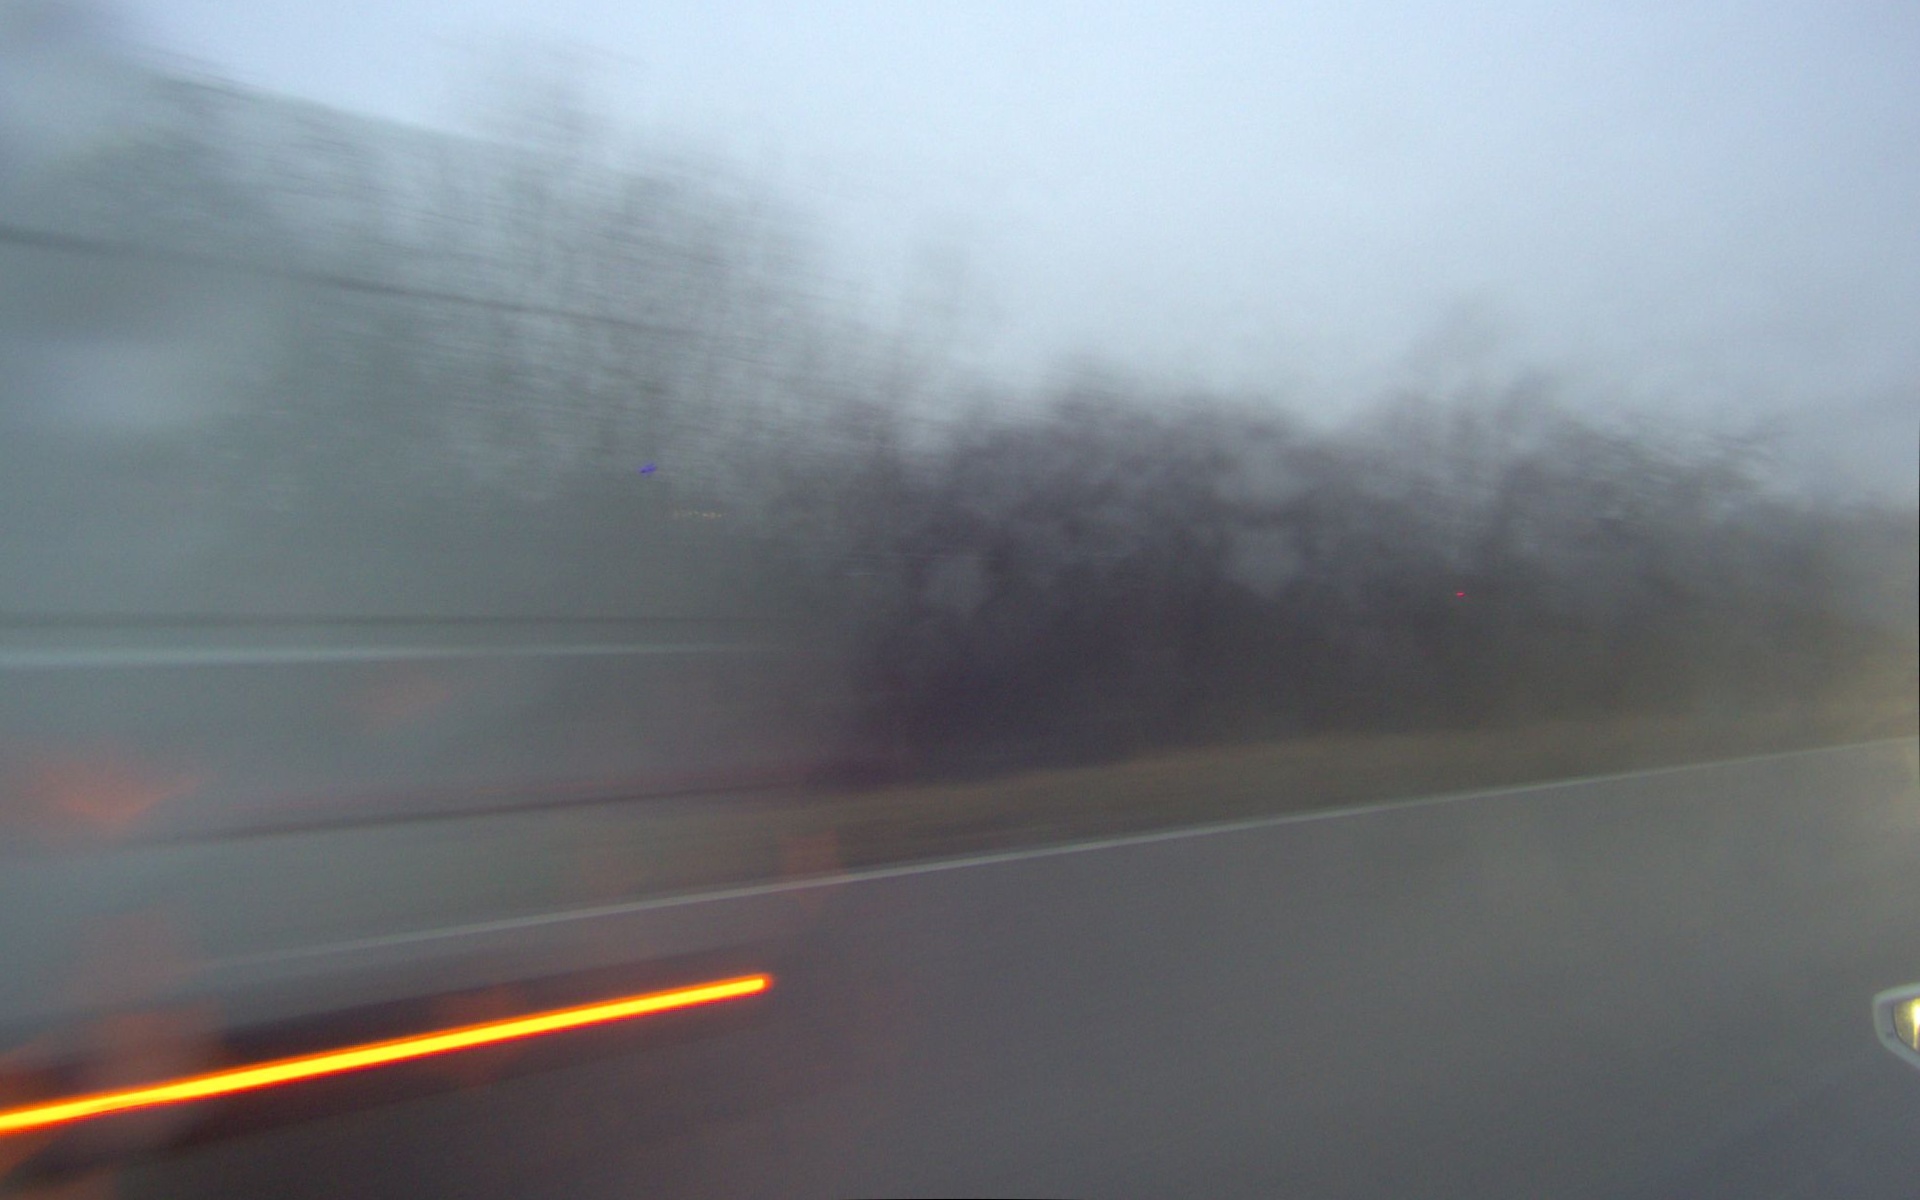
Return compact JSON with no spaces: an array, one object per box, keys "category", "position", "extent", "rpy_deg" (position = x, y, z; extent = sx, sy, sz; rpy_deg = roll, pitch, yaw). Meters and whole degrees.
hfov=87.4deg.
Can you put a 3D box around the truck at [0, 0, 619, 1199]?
[{"category":"truck","position":[-3.543,0.153,1.621],"extent":[5.312,2.500,2.227],"rpy_deg":[1,0,-31]}]
